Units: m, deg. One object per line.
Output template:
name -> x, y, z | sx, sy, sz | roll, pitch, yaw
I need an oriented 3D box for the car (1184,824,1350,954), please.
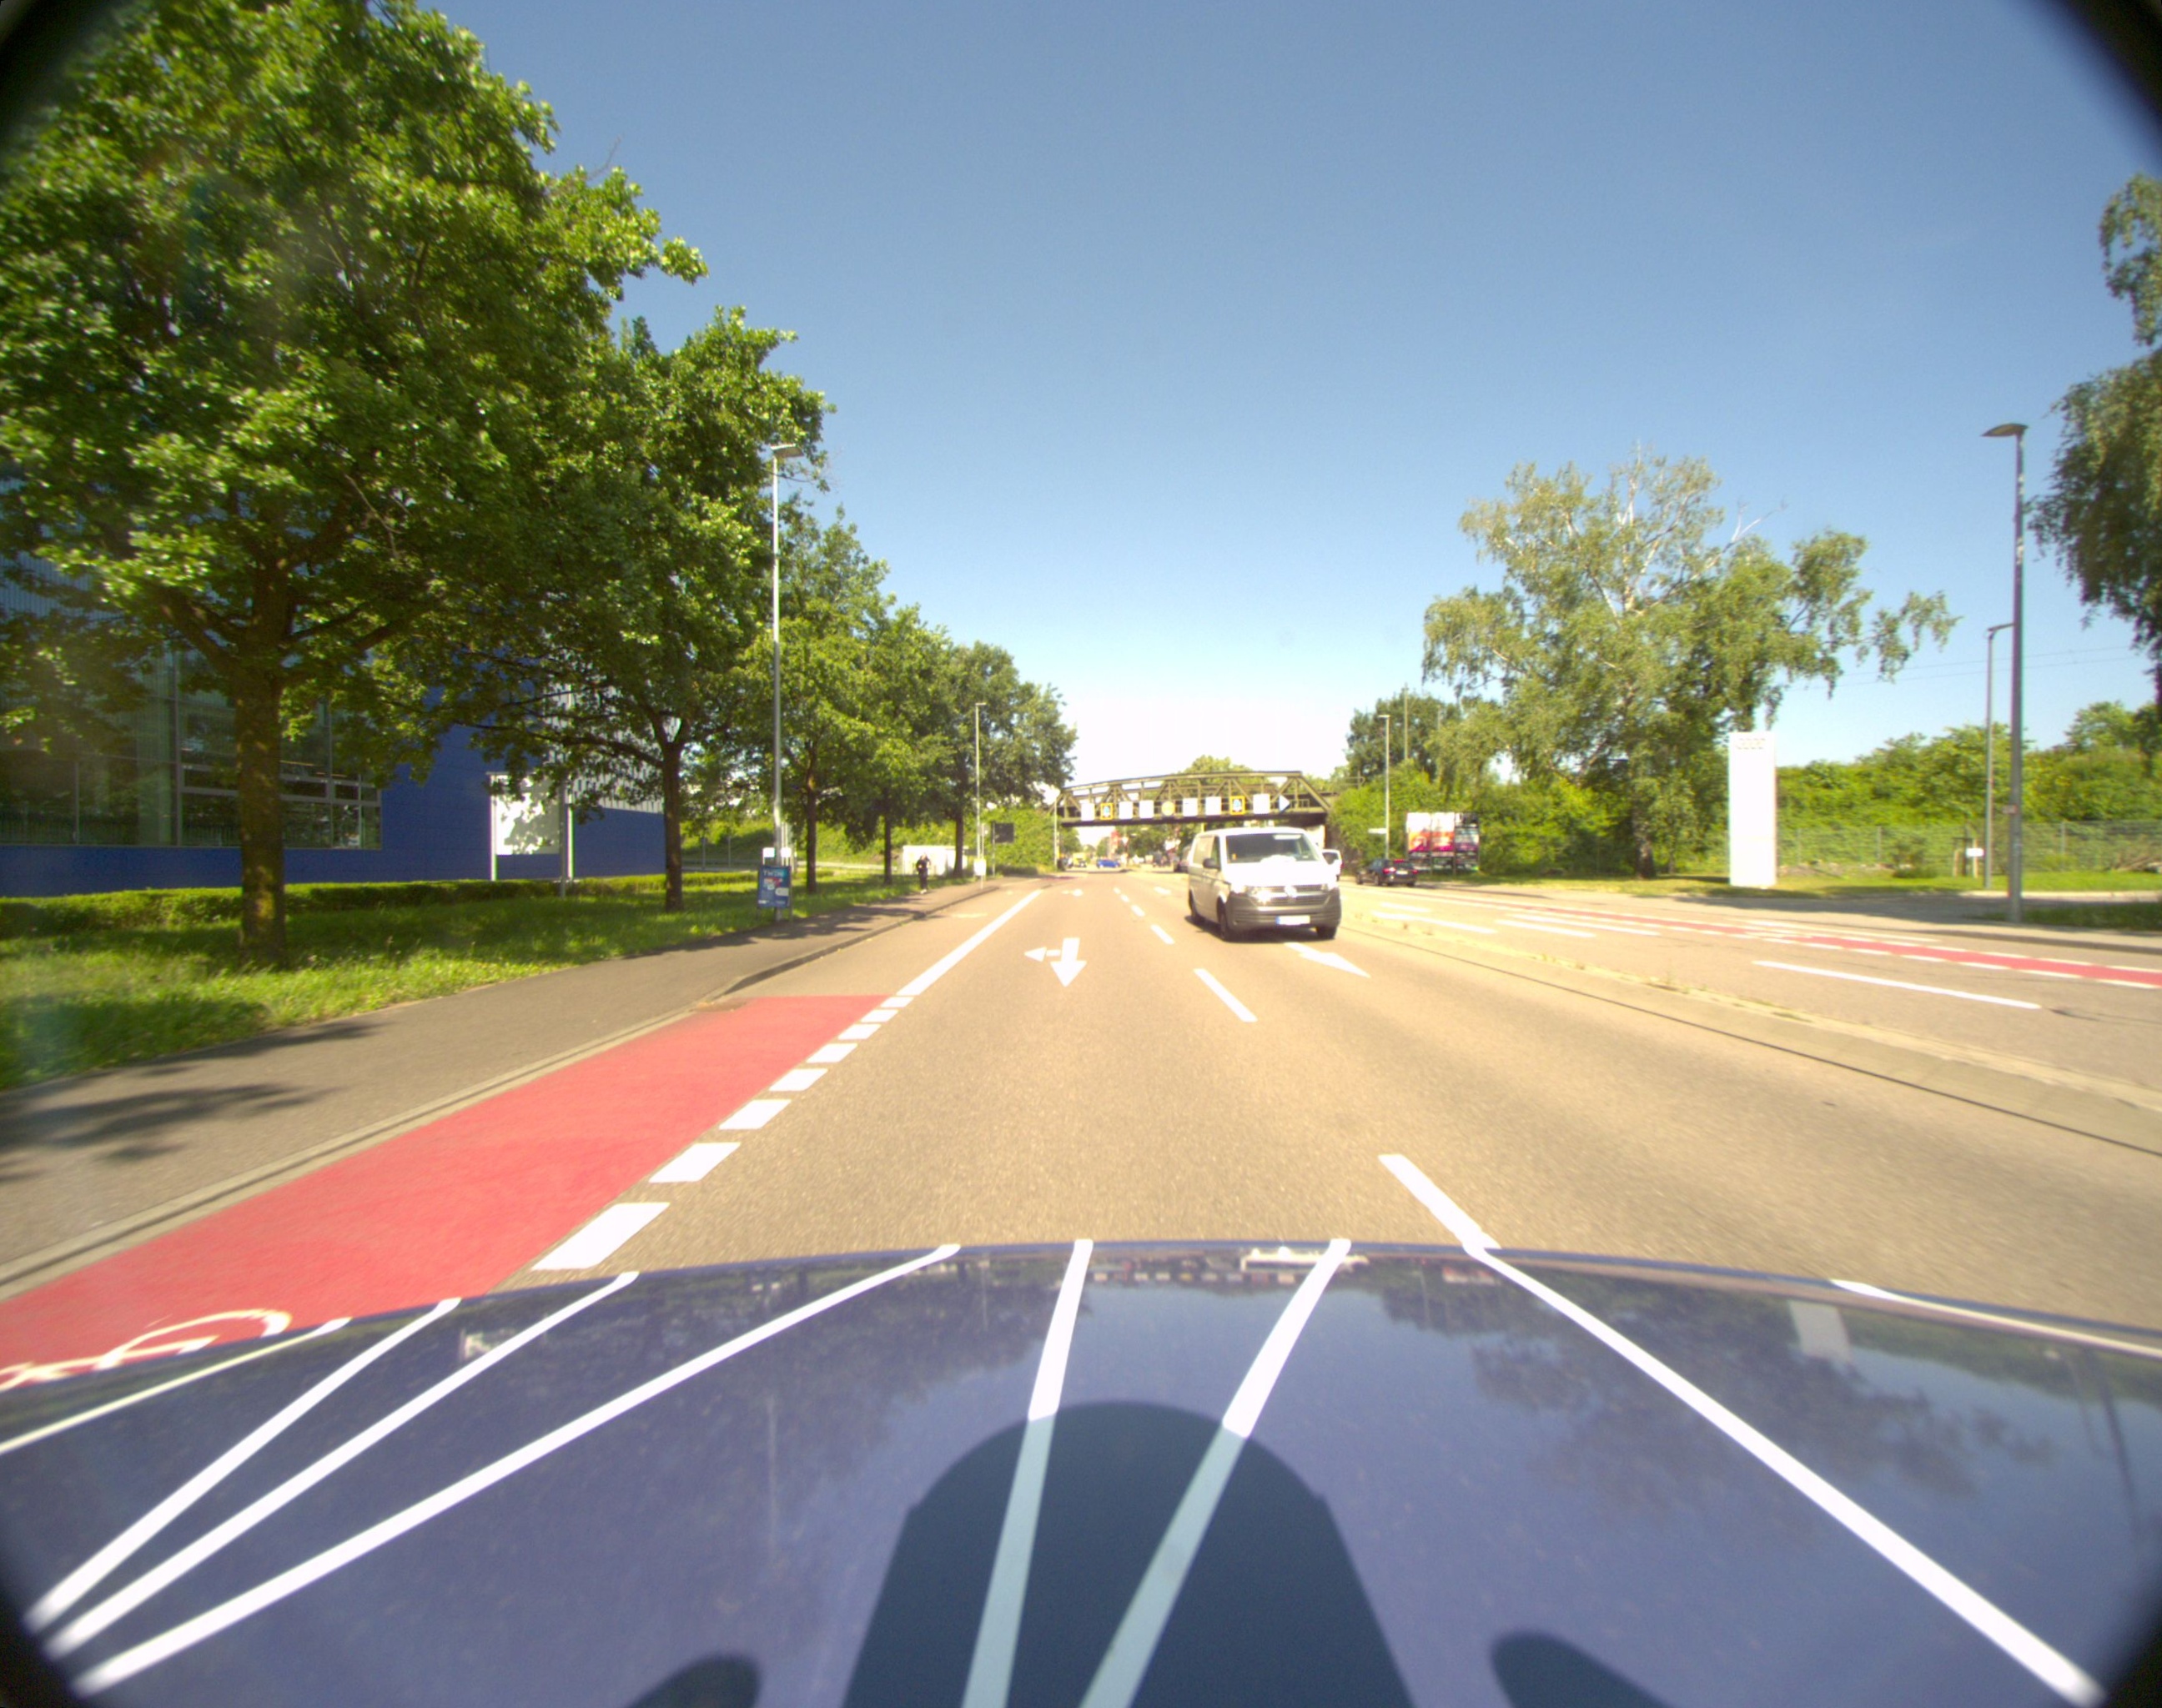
car -> 3.190, 0.538, 14.135 | 1.886, 1.982, 4.974 | 0, 0, 0

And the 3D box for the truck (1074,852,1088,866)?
truck -> -0.003, 1.027, 161.574 | 2.410, 2.845, 5.803 | -3, -1, -5

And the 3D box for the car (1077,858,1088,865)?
car -> 0.243, 1.420, 146.652 | 1.823, 1.346, 3.999 | 0, 0, -3

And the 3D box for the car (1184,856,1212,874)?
car -> 10.049, 0.977, 65.564 | 1.773, 1.485, 4.178 | 1, -1, 1

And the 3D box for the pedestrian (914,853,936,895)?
pedestrian -> -6.052, 0.759, 29.459 | 0.648, 1.594, 0.847 | 0, 1, 2

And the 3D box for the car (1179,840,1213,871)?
car -> 10.899, 0.171, 72.539 | 1.999, 2.788, 6.937 | 2, 0, -1

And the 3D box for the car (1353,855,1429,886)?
car -> 15.399, 0.785, 37.994 | 1.998, 1.405, 4.681 | 0, 0, 2

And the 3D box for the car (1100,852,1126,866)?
car -> 4.998, 0.762, 119.714 | 3.996, 2.001, 2.212 | -3, -1, 3

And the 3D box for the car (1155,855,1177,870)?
car -> 9.598, 0.916, 85.913 | 1.998, 1.671, 4.950 | 0, 0, 2

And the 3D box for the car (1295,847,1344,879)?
car -> 15.731, 0.591, 50.378 | 1.998, 2.002, 5.349 | 0, 0, 5

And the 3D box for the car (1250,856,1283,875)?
car -> 15.601, 0.981, 64.166 | 1.773, 1.485, 4.178 | 1, -1, 1

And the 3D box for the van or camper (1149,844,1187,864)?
van or camper -> 14.696, 0.056, 128.307 | 5.779, 3.136, 2.600 | -3, -1, -4
